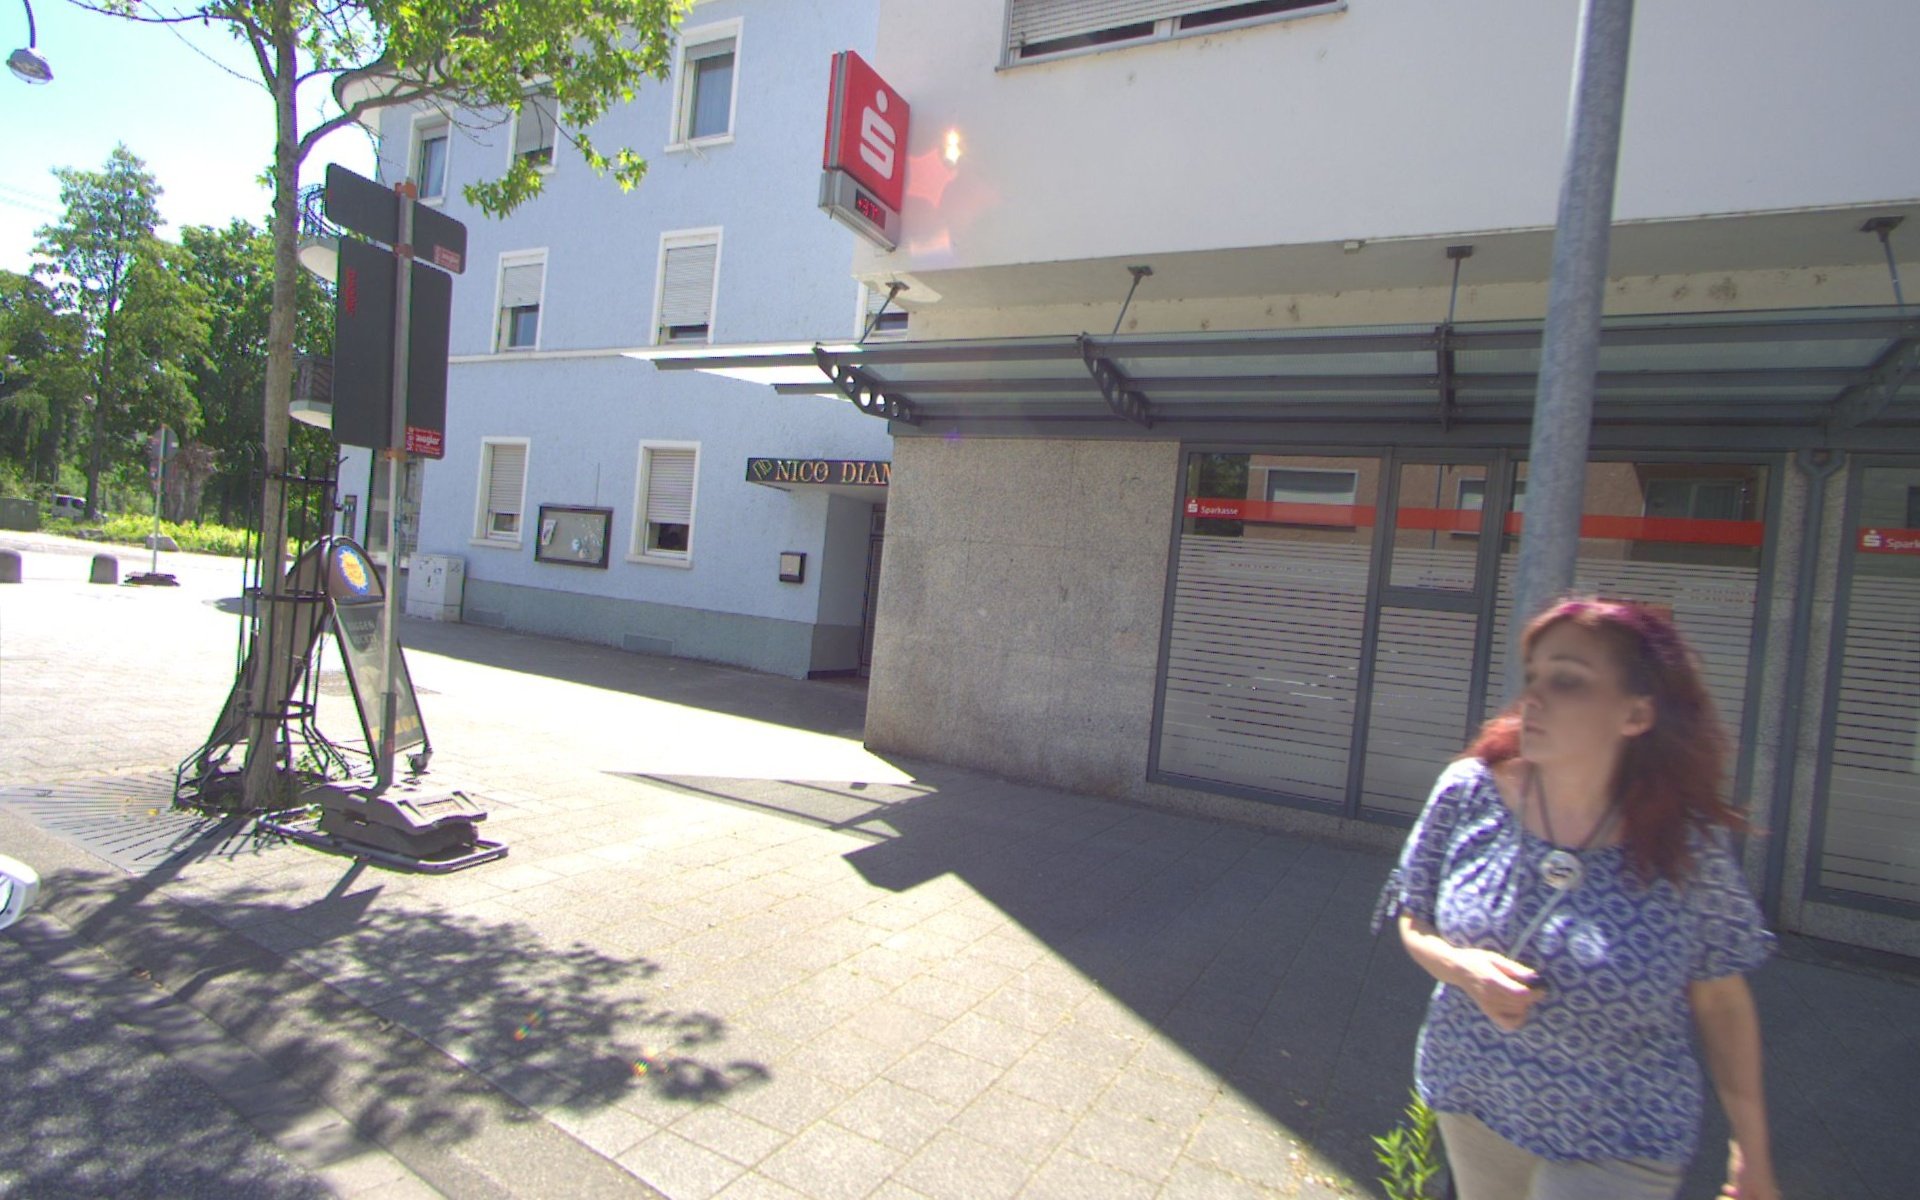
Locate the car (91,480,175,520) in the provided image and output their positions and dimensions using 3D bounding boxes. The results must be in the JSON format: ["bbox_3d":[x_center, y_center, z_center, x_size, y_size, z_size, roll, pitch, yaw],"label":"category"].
[{"bbox_3d":[-54.051,-6.510,65.852,3.963,2.039,1.980,6,1,-36],"label":"car"}]

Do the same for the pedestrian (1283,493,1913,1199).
[{"bbox_3d":[0.874,0.714,1.552,0.550,1.630,0.733,7,1,30],"label":"pedestrian"}]
